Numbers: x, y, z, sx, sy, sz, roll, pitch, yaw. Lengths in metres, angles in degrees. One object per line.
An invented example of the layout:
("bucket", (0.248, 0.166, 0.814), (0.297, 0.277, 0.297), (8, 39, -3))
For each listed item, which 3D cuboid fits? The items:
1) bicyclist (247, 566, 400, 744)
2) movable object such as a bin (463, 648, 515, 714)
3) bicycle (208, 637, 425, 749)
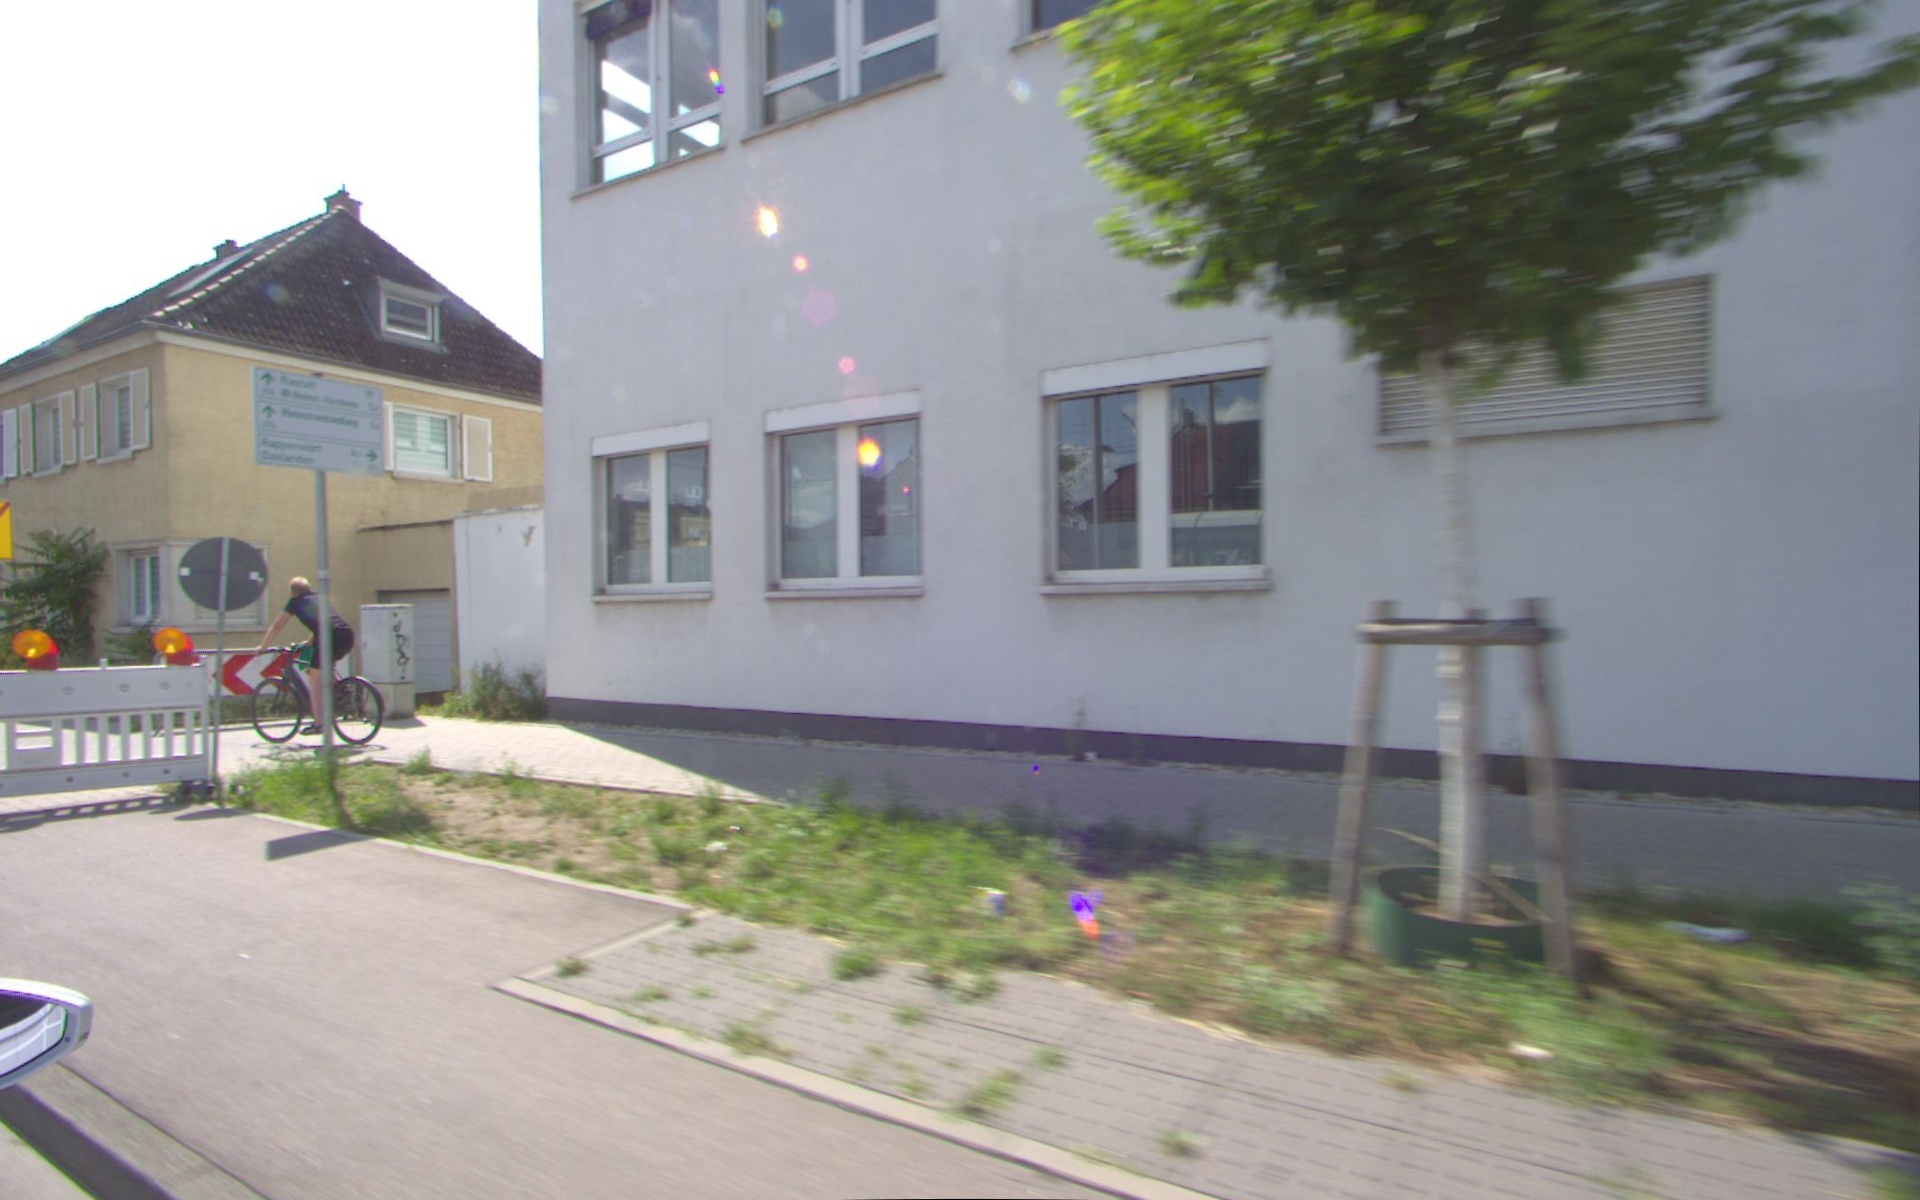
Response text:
("bicyclist", (-6.787, 0.559, 10.716), (1.064, 1.818, 0.830), (0, 2, 13))
("movable object such as a bin", (-8.157, 1.391, 17.329), (0.659, 1.101, 0.610), (-2, -2, 42))
("bicycle", (-6.888, 0.965, 10.751), (1.934, 1.090, 0.830), (-1, 1, 14))
